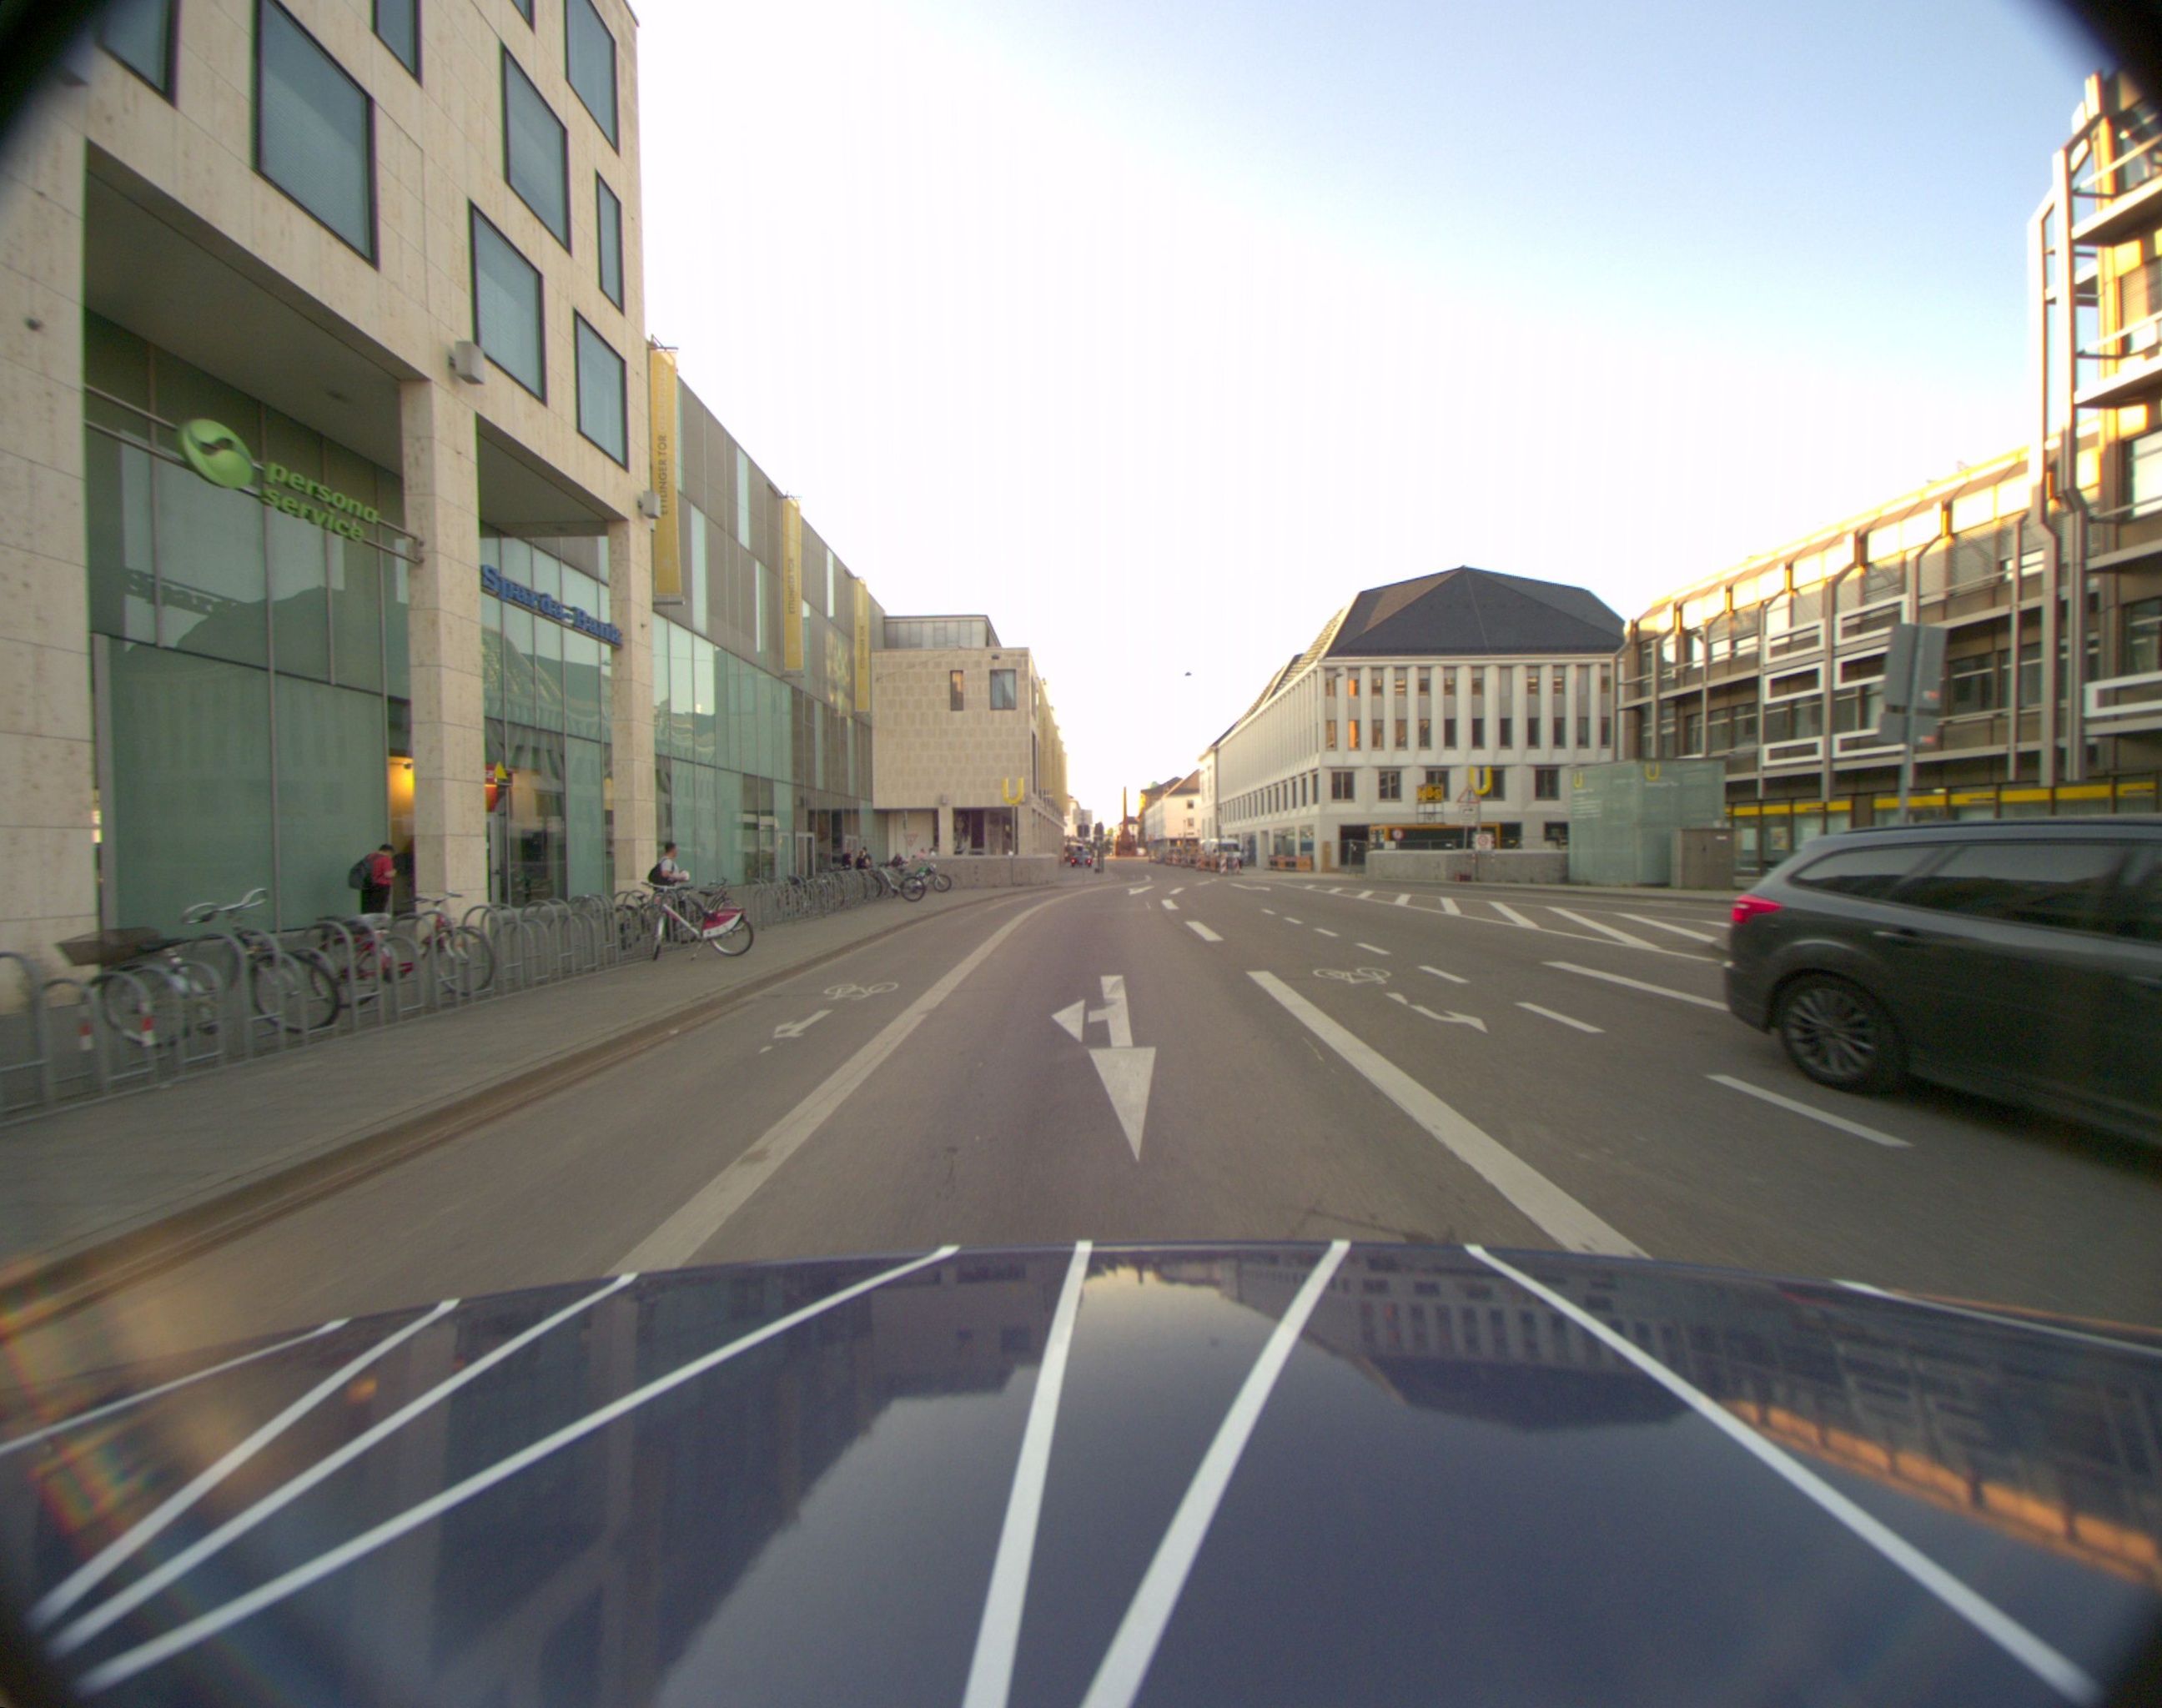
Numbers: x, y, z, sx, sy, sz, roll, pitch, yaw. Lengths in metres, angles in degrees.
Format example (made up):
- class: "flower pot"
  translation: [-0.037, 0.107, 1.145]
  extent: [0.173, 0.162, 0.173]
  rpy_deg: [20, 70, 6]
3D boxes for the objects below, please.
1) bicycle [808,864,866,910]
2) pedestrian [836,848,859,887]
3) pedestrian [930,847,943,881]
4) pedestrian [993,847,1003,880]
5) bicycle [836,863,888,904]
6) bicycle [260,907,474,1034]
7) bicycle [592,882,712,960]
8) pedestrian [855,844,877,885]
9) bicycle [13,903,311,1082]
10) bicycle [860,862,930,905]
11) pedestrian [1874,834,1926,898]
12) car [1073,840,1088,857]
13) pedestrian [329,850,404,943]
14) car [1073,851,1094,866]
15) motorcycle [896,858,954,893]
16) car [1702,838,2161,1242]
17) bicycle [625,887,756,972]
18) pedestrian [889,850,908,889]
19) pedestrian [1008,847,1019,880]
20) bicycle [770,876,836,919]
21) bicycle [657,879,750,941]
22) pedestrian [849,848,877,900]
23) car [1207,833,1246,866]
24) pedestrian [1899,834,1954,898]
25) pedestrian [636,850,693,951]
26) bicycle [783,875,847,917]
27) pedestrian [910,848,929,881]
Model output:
- class: "bicycle"
  translation: [-6.636, 0.890, 20.722]
  extent: [1.345, 1.157, 0.518]
  rpy_deg: [-3, 1, -1]
- class: "pedestrian"
  translation: [-9.935, 0.560, 32.394]
  extent: [0.740, 1.638, 0.820]
  rpy_deg: [-1, 1, -4]
- class: "pedestrian"
  translation: [-7.635, 0.521, 40.186]
  extent: [0.494, 1.734, 0.656]
  rpy_deg: [-1, 1, 3]
- class: "pedestrian"
  translation: [-4.385, 0.494, 40.274]
  extent: [0.454, 1.734, 0.492]
  rpy_deg: [-1, 1, 3]
- class: "bicycle"
  translation: [-6.579, 0.883, 22.807]
  extent: [1.345, 1.157, 0.518]
  rpy_deg: [-3, 1, -1]
- class: "bicycle"
  translation: [-7.117, 1.145, 7.623]
  extent: [1.519, 1.099, 0.552]
  rpy_deg: [-3, 1, -2]
- class: "bicycle"
  translation: [-6.780, 1.051, 12.039]
  extent: [1.518, 1.117, 0.580]
  rpy_deg: [-3, 1, 4]
- class: "pedestrian"
  translation: [-9.137, 0.439, 32.338]
  extent: [0.698, 1.686, 0.820]
  rpy_deg: [-1, 1, -4]
- class: "bicycle"
  translation: [-7.196, 1.059, 6.004]
  extent: [1.518, 1.220, 0.618]
  rpy_deg: [-3, 1, 0]
- class: "bicycle"
  translation: [-5.365, 0.850, 21.962]
  extent: [1.838, 1.140, 0.466]
  rpy_deg: [-3, 1, 2]
- class: "pedestrian"
  translation: [21.075, 0.305, 19.560]
  extent: [0.670, 1.630, 0.584]
  rpy_deg: [-1, 1, 1]
- class: "car"
  translation: [-0.025, -0.773, 103.980]
  extent: [1.798, 2.199, 3.671]
  rpy_deg: [-1, 1, 3]
- class: "pedestrian"
  translation: [-12.889, 0.745, 13.725]
  extent: [0.629, 1.642, 0.708]
  rpy_deg: [-1, 1, 2]
- class: "car"
  translation: [0.213, 0.405, 71.149]
  extent: [1.798, 1.365, 3.671]
  rpy_deg: [-1, 1, 3]
- class: "motorcycle"
  translation: [-5.683, 0.780, 27.726]
  extent: [2.007, 1.217, 0.480]
  rpy_deg: [-1, 1, -2]
- class: "car"
  translation: [4.896, 0.693, 2.707]
  extent: [1.762, 1.454, 4.379]
  rpy_deg: [-2, 1, 0]
- class: "bicycle"
  translation: [-5.382, 1.036, 10.512]
  extent: [1.518, 1.057, 0.466]
  rpy_deg: [-3, 1, 2]
- class: "pedestrian"
  translation: [-8.431, 0.702, 35.114]
  extent: [0.619, 1.770, 0.812]
  rpy_deg: [-1, 1, 3]
- class: "pedestrian"
  translation: [-3.617, 0.488, 40.699]
  extent: [0.516, 1.734, 0.492]
  rpy_deg: [-1, 1, 3]
- class: "bicycle"
  translation: [-6.633, 1.038, 18.150]
  extent: [1.345, 0.927, 0.518]
  rpy_deg: [-3, 1, -1]
- class: "bicycle"
  translation: [-7.283, 1.064, 14.720]
  extent: [1.447, 1.059, 0.580]
  rpy_deg: [-3, 1, -10]
- class: "pedestrian"
  translation: [-7.060, 0.627, 24.598]
  extent: [0.809, 1.633, 0.646]
  rpy_deg: [-1, 1, -18]
- class: "car"
  translation: [11.997, -0.389, 62.938]
  extent: [2.141, 2.541, 6.049]
  rpy_deg: [-1, 1, 1]
- class: "pedestrian"
  translation: [21.730, 0.297, 19.547]
  extent: [0.616, 1.630, 0.702]
  rpy_deg: [-1, 1, 1]
- class: "pedestrian"
  translation: [-7.150, 0.773, 13.069]
  extent: [0.708, 1.682, 0.628]
  rpy_deg: [-1, 1, -18]
- class: "bicycle"
  translation: [-6.574, 1.036, 18.795]
  extent: [1.345, 0.927, 0.518]
  rpy_deg: [-3, 1, -1]
- class: "pedestrian"
  translation: [-8.431, 0.547, 39.763]
  extent: [0.793, 1.734, 0.656]
  rpy_deg: [-1, 1, 3]
